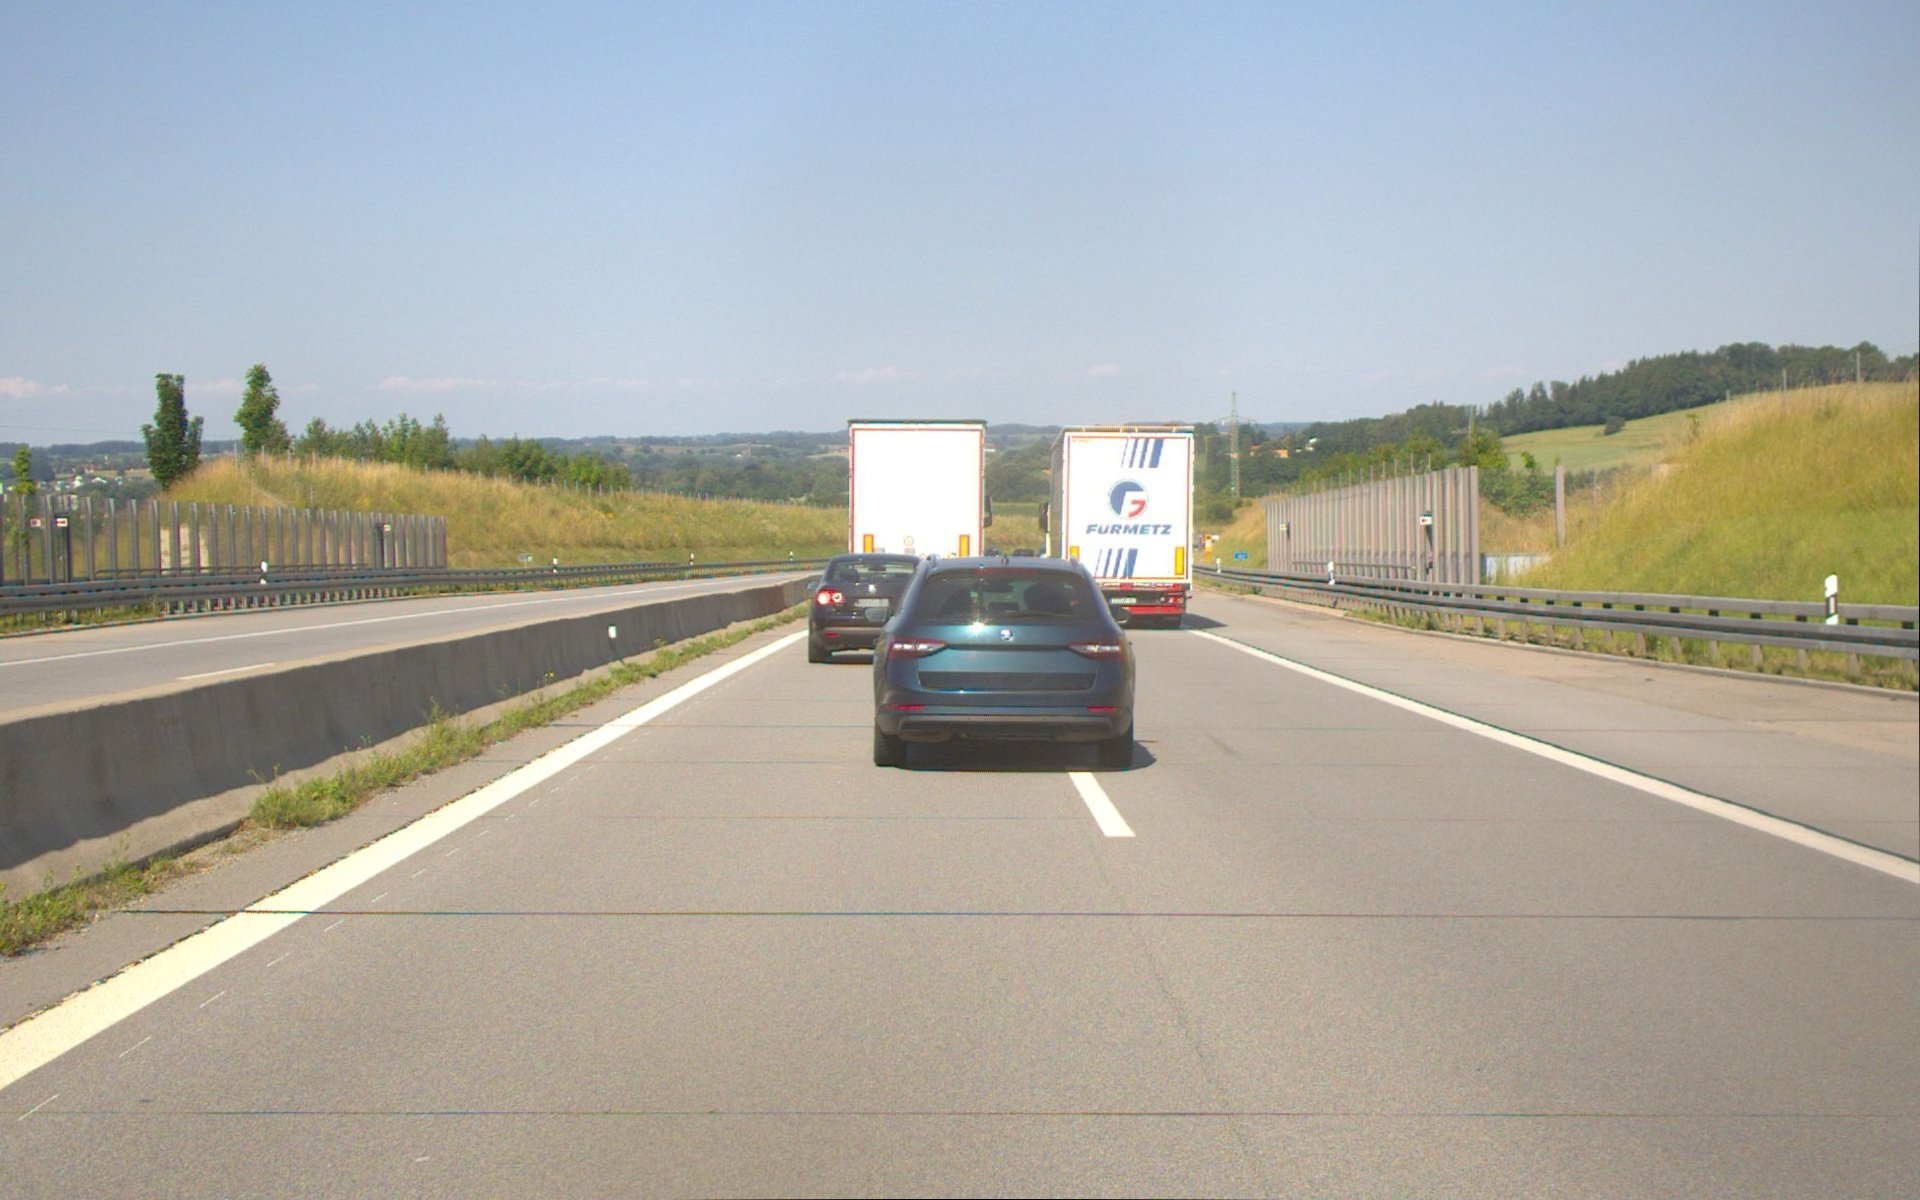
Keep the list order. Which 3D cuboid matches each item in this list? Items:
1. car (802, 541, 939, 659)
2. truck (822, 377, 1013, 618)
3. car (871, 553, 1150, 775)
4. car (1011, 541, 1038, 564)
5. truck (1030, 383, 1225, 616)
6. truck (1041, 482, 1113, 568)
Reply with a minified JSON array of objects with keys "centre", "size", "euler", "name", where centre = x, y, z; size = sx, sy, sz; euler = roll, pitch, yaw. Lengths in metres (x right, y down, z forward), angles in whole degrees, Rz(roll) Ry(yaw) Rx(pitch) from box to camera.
[{"centre":[-1.228,-0.031,46.162],"size":[1.700,1.436,4.001],"euler":[-2,1,-2],"name":"car"},{"centre":[-0.713,-2.033,69.823],"size":[3.211,4.366,11.233],"euler":[-2,1,2],"name":"truck"},{"centre":[0.284,0.395,24.418],"size":[1.776,1.436,3.789],"euler":[0,1,-2],"name":"car"},{"centre":[4.113,-3.069,219.693],"size":[1.700,1.436,4.000],"euler":[0,1,0],"name":"car"},{"centre":[3.394,-2.063,72.350],"size":[3.604,4.366,11.233],"euler":[-2,1,2],"name":"truck"},{"centre":[6.345,-4.085,187.861],"size":[3.604,4.366,11.233],"euler":[-2,1,2],"name":"truck"}]
